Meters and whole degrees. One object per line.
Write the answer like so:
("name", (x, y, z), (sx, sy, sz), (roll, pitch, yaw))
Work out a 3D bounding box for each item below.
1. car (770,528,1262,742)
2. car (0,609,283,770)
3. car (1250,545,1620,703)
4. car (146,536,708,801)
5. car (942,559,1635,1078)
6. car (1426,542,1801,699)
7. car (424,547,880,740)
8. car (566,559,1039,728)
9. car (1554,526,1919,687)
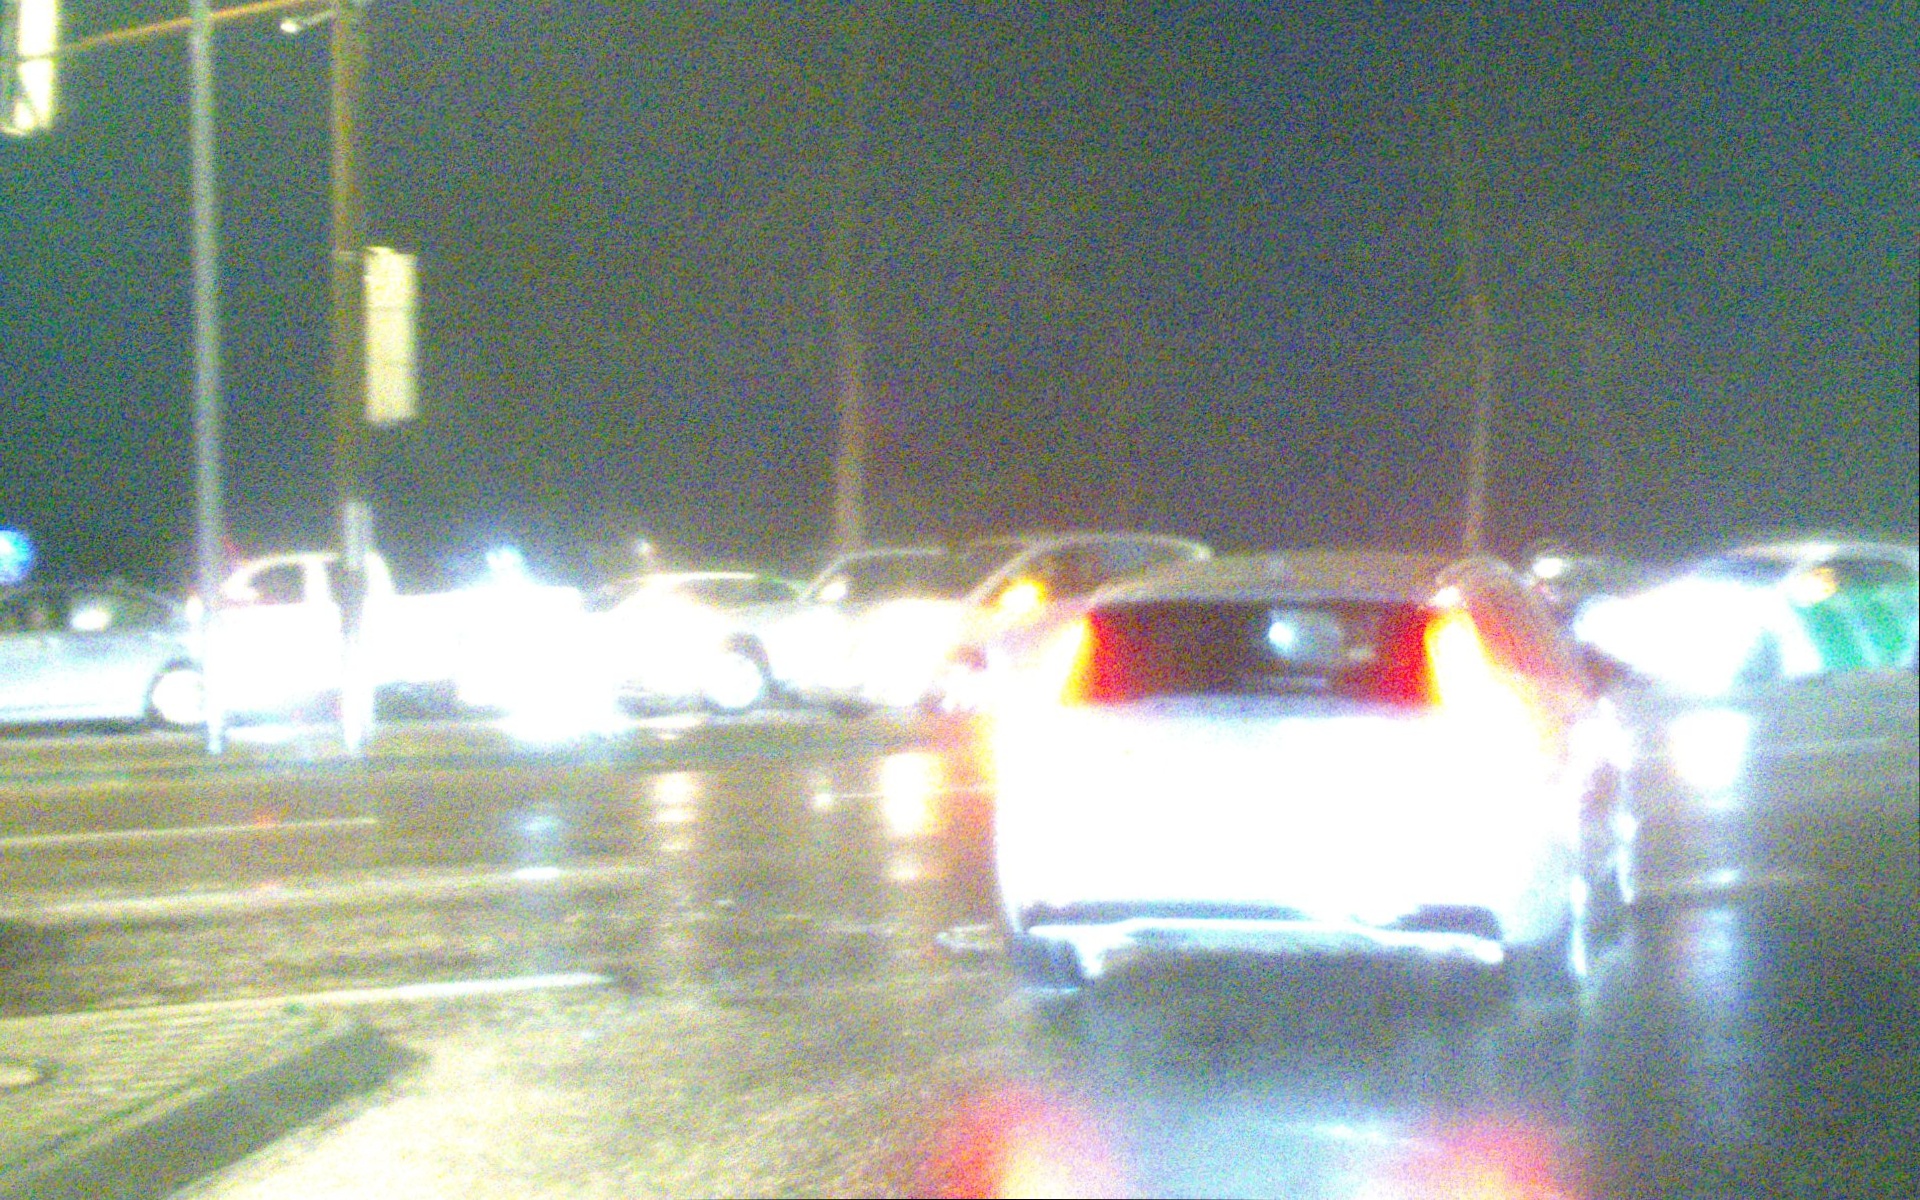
("car", (0.502, 0.249, 29.517), (3.889, 1.719, 1.765), (-1, 1, -32))
("car", (-8.740, 0.792, 31.147), (4.787, 1.422, 1.765), (1, -1, -33))
("car", (5.686, 0.304, 40.976), (4.237, 1.793, 1.804), (1, -1, -34))
("car", (-5.776, 0.740, 37.449), (5.590, 2.701, 2.256), (1, -1, -28))
("car", (1.340, 0.597, 12.087), (1.797, 1.447, 4.266), (1, 1, 14))
("car", (7.282, 0.247, 38.210), (3.964, 1.660, 1.804), (1, -1, -34))
("car", (-3.092, 0.445, 34.849), (4.271, 1.842, 1.765), (1, -1, -34))
("car", (-1.448, 0.409, 31.995), (4.044, 1.482, 1.718), (1, -1, -30))
("car", (8.152, 0.021, 34.100), (4.398, 1.479, 1.782), (-1, 2, -33))
